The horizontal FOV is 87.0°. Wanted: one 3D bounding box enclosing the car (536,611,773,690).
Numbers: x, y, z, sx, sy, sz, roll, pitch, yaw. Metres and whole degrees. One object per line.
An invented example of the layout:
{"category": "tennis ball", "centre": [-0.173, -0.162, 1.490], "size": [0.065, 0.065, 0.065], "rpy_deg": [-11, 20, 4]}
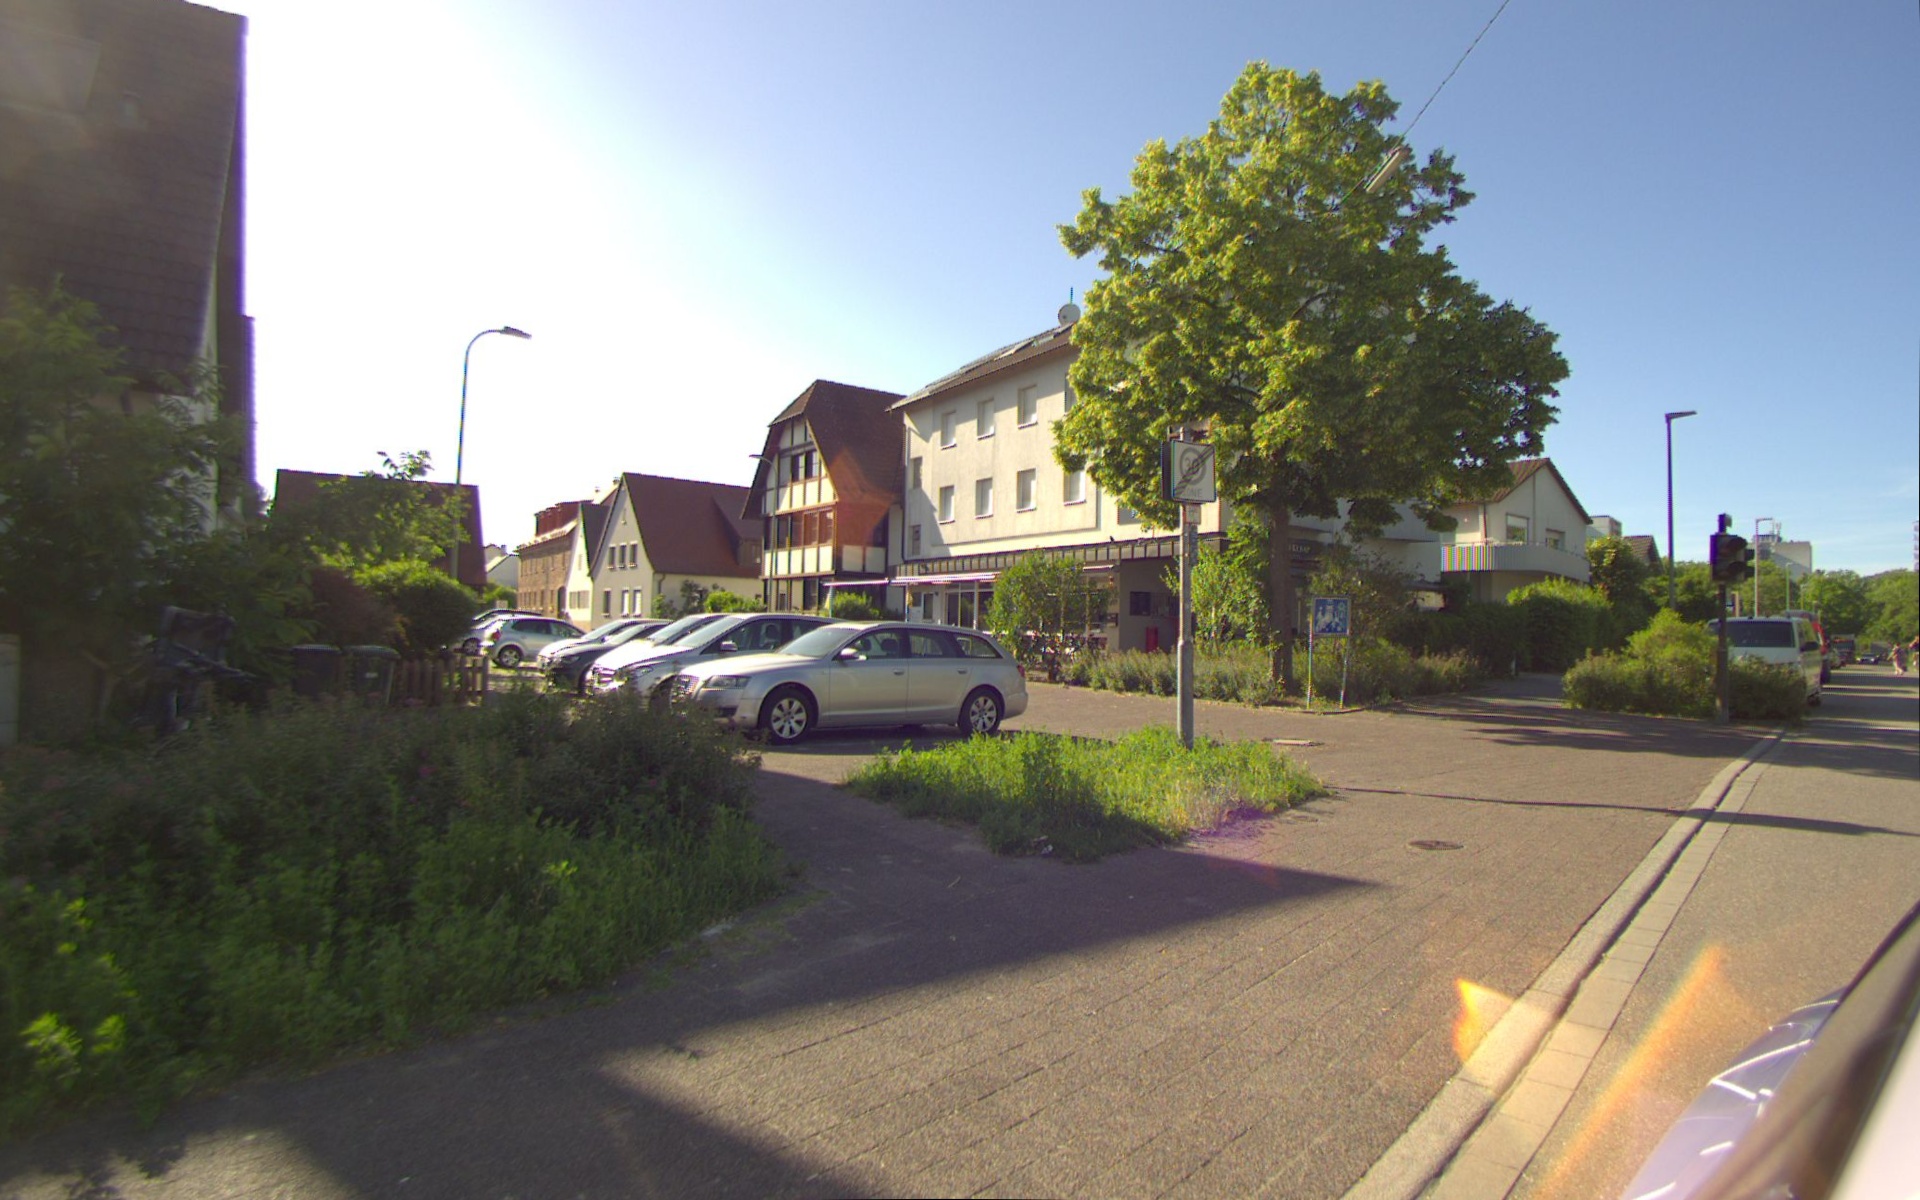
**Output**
{"category": "car", "centre": [-5.813, 1.004, 19.410], "size": [4.031, 1.368, 1.651], "rpy_deg": [3, -4, -31]}

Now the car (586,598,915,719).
{"category": "car", "centre": [-2.990, 0.850, 14.683], "size": [4.313, 1.537, 1.715], "rpy_deg": [3, -2, -29]}

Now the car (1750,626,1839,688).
{"category": "car", "centre": [26.031, 1.718, 31.529], "size": [1.955, 1.760, 4.507], "rpy_deg": [-2, -3, 41]}

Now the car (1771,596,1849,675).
{"category": "car", "centre": [30.670, 1.281, 36.590], "size": [1.954, 2.679, 5.147], "rpy_deg": [-2, -3, 39]}

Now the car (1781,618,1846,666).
{"category": "car", "centre": [35.183, 1.721, 41.660], "size": [1.855, 1.872, 4.490], "rpy_deg": [-4, -4, 42]}

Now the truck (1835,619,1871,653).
{"category": "truck", "centre": [125.528, 4.995, 142.184], "size": [3.591, 4.630, 9.867], "rpy_deg": [-1, -3, 42]}

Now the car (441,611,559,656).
{"category": "car", "centre": [-16.289, 1.192, 35.871], "size": [3.549, 1.472, 1.459], "rpy_deg": [3, -3, -35]}

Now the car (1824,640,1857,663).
{"category": "car", "centre": [60.581, 3.502, 69.636], "size": [1.616, 1.506, 3.920], "rpy_deg": [-2, -3, 42]}

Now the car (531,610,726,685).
{"category": "car", "centre": [-7.185, 1.042, 22.025], "size": [3.733, 1.493, 1.603], "rpy_deg": [3, -3, -31]}

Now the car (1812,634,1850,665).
{"category": "car", "centre": [52.758, 2.965, 61.279], "size": [1.616, 1.799, 3.920], "rpy_deg": [-2, -3, 42]}

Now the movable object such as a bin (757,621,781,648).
{"category": "movable object such as a bin", "centre": [-7.373, 1.326, 39.089], "size": [0.645, 1.005, 0.708], "rpy_deg": [-1, 0, -38]}

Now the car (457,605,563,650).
{"category": "car", "centre": [-18.063, 1.101, 40.685], "size": [3.635, 1.646, 1.413], "rpy_deg": [3, -2, -37]}

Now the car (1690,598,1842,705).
{"category": "car", "centre": [17.725, 1.058, 22.190], "size": [4.501, 2.106, 1.995], "rpy_deg": [1, -2, -44]}

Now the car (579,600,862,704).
{"category": "car", "centre": [-4.015, 0.885, 17.129], "size": [4.313, 1.572, 1.715], "rpy_deg": [3, -2, -29]}

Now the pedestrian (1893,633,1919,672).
{"category": "pedestrian", "centre": [41.852, 2.296, 44.624], "size": [0.619, 1.606, 0.837], "rpy_deg": [0, 2, -30]}

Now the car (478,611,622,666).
{"category": "car", "centre": [-11.761, 1.126, 29.135], "size": [3.549, 1.438, 1.460], "rpy_deg": [3, -2, -35]}

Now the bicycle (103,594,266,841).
{"category": "bicycle", "centre": [-4.770, 0.641, 6.255], "size": [0.687, 1.300, 1.741], "rpy_deg": [1, -2, -37]}

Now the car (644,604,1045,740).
{"category": "car", "centre": [-1.352, 0.900, 12.957], "size": [4.711, 1.440, 1.999], "rpy_deg": [3, -3, -36]}

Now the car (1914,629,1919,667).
{"category": "car", "centre": [50.584, 2.495, 51.935], "size": [1.956, 1.944, 4.513], "rpy_deg": [-2, -2, 38]}

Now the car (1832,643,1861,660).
{"category": "car", "centre": [89.280, 5.123, 101.905], "size": [1.994, 1.617, 4.503], "rpy_deg": [-1, -2, 44]}
